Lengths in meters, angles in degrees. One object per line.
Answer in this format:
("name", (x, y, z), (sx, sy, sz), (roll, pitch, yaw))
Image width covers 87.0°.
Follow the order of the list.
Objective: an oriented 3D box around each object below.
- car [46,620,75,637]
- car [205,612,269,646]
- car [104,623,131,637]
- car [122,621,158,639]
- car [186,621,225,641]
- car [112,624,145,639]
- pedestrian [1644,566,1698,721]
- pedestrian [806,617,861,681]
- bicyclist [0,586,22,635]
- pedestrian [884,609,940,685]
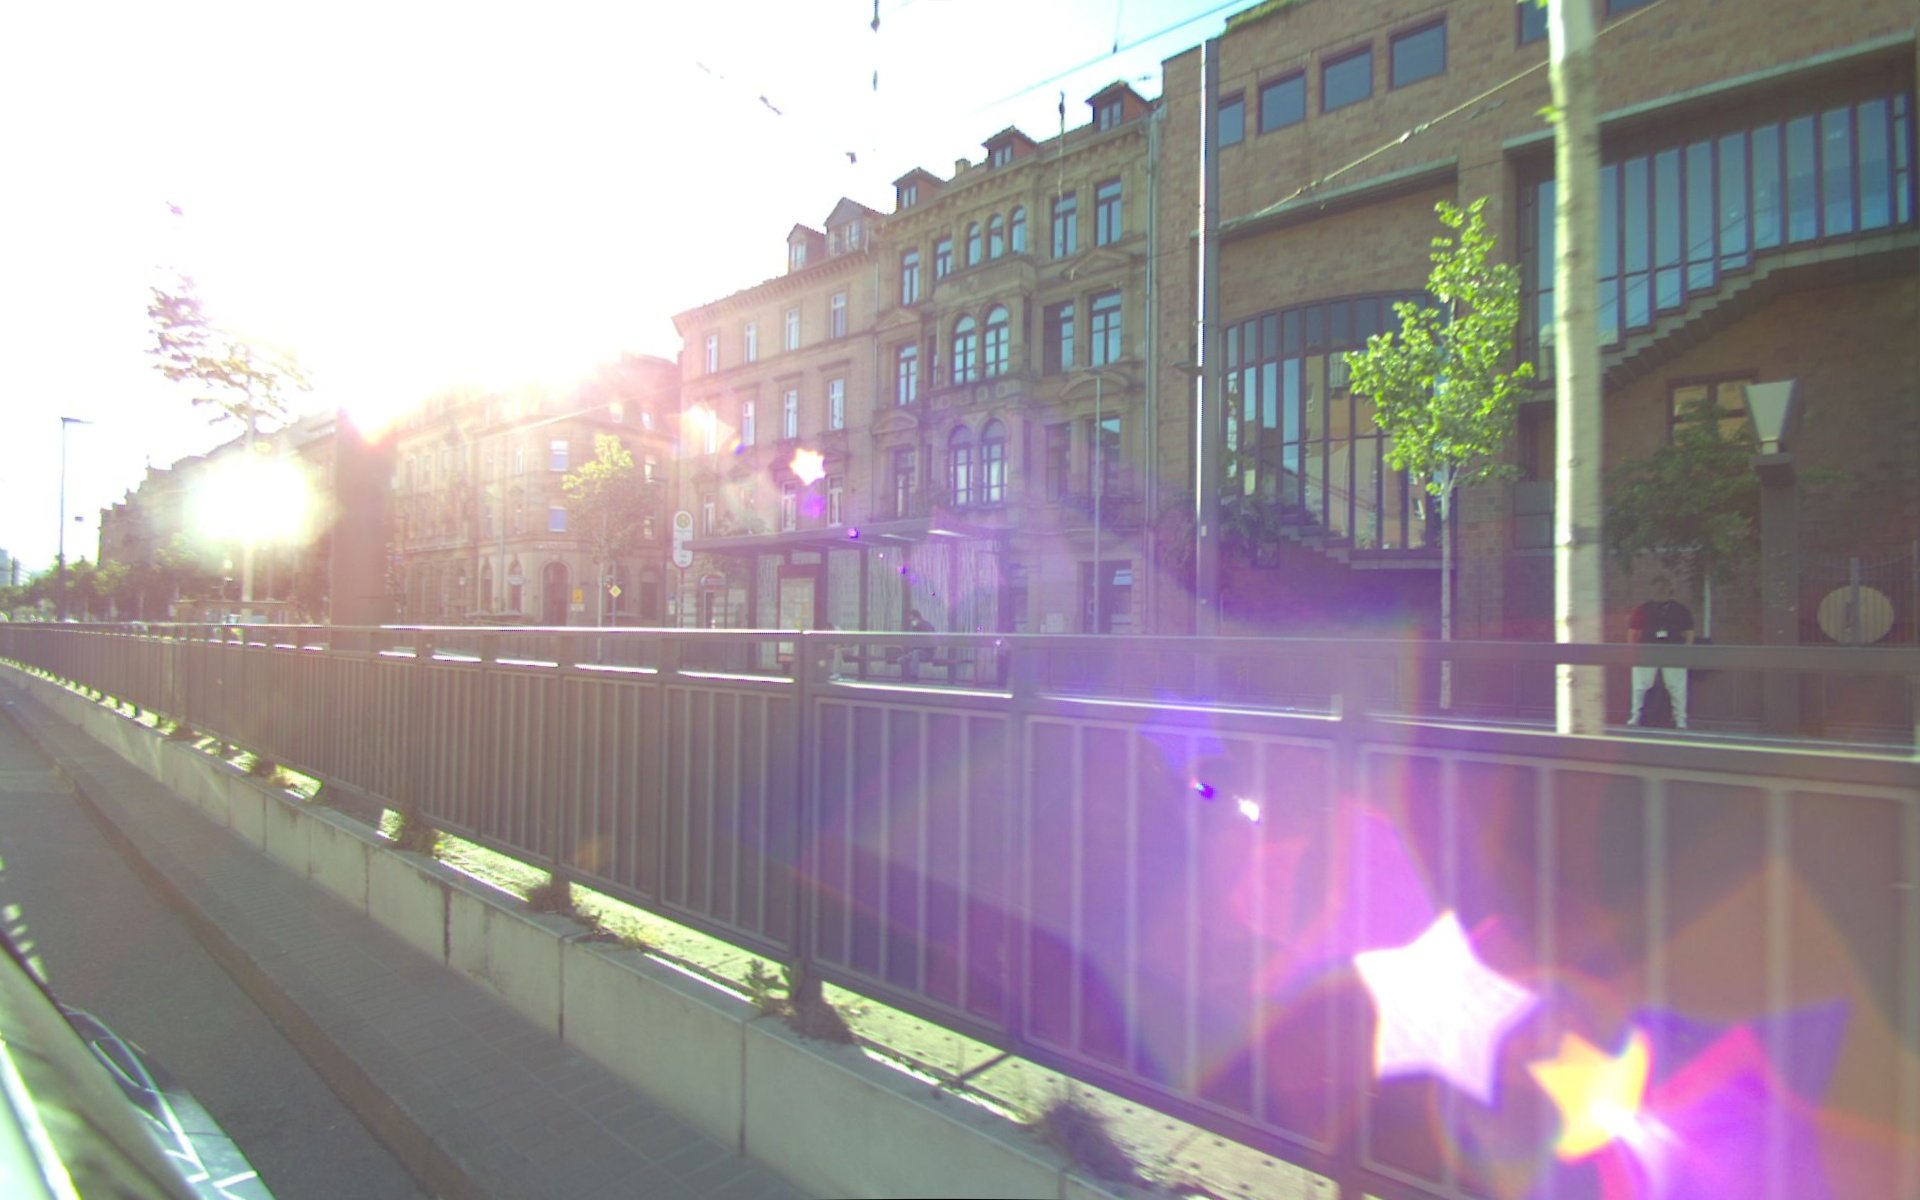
("car", (-92.662, 2.934, 104.267), (4.476, 1.652, 1.777), (-1, -2, 43))
("car", (-43.172, 1.699, 60.411), (4.578, 1.894, 1.974), (-1, 0, 39))
("car", (-91.982, 3.243, 110.458), (4.027, 1.490, 1.730), (-1, 0, 42))
("car", (-82.438, 2.954, 101.694), (4.885, 1.710, 1.973), (-1, 0, 41))
("car", (-65.076, 2.657, 87.275), (4.545, 1.671, 1.917), (-1, 0, 44))
("car", (-87.041, 3.272, 105.953), (4.983, 1.549, 1.972), (-1, 0, 42))
("pedestrian", (7.840, 0.467, 11.162), (0.416, 1.661, 0.374), (-1, 0, 42))
("pedestrian", (-2.408, 0.935, 19.312), (0.721, 1.177, 0.713), (-1, -4, 42))
("bicyclist", (-35.319, 0.381, 37.193), (0.848, 1.787, 0.880), (0, -1, 16))
("pedestrian", (-0.851, 0.830, 17.996), (0.721, 1.319, 0.639), (-1, -4, 42))
